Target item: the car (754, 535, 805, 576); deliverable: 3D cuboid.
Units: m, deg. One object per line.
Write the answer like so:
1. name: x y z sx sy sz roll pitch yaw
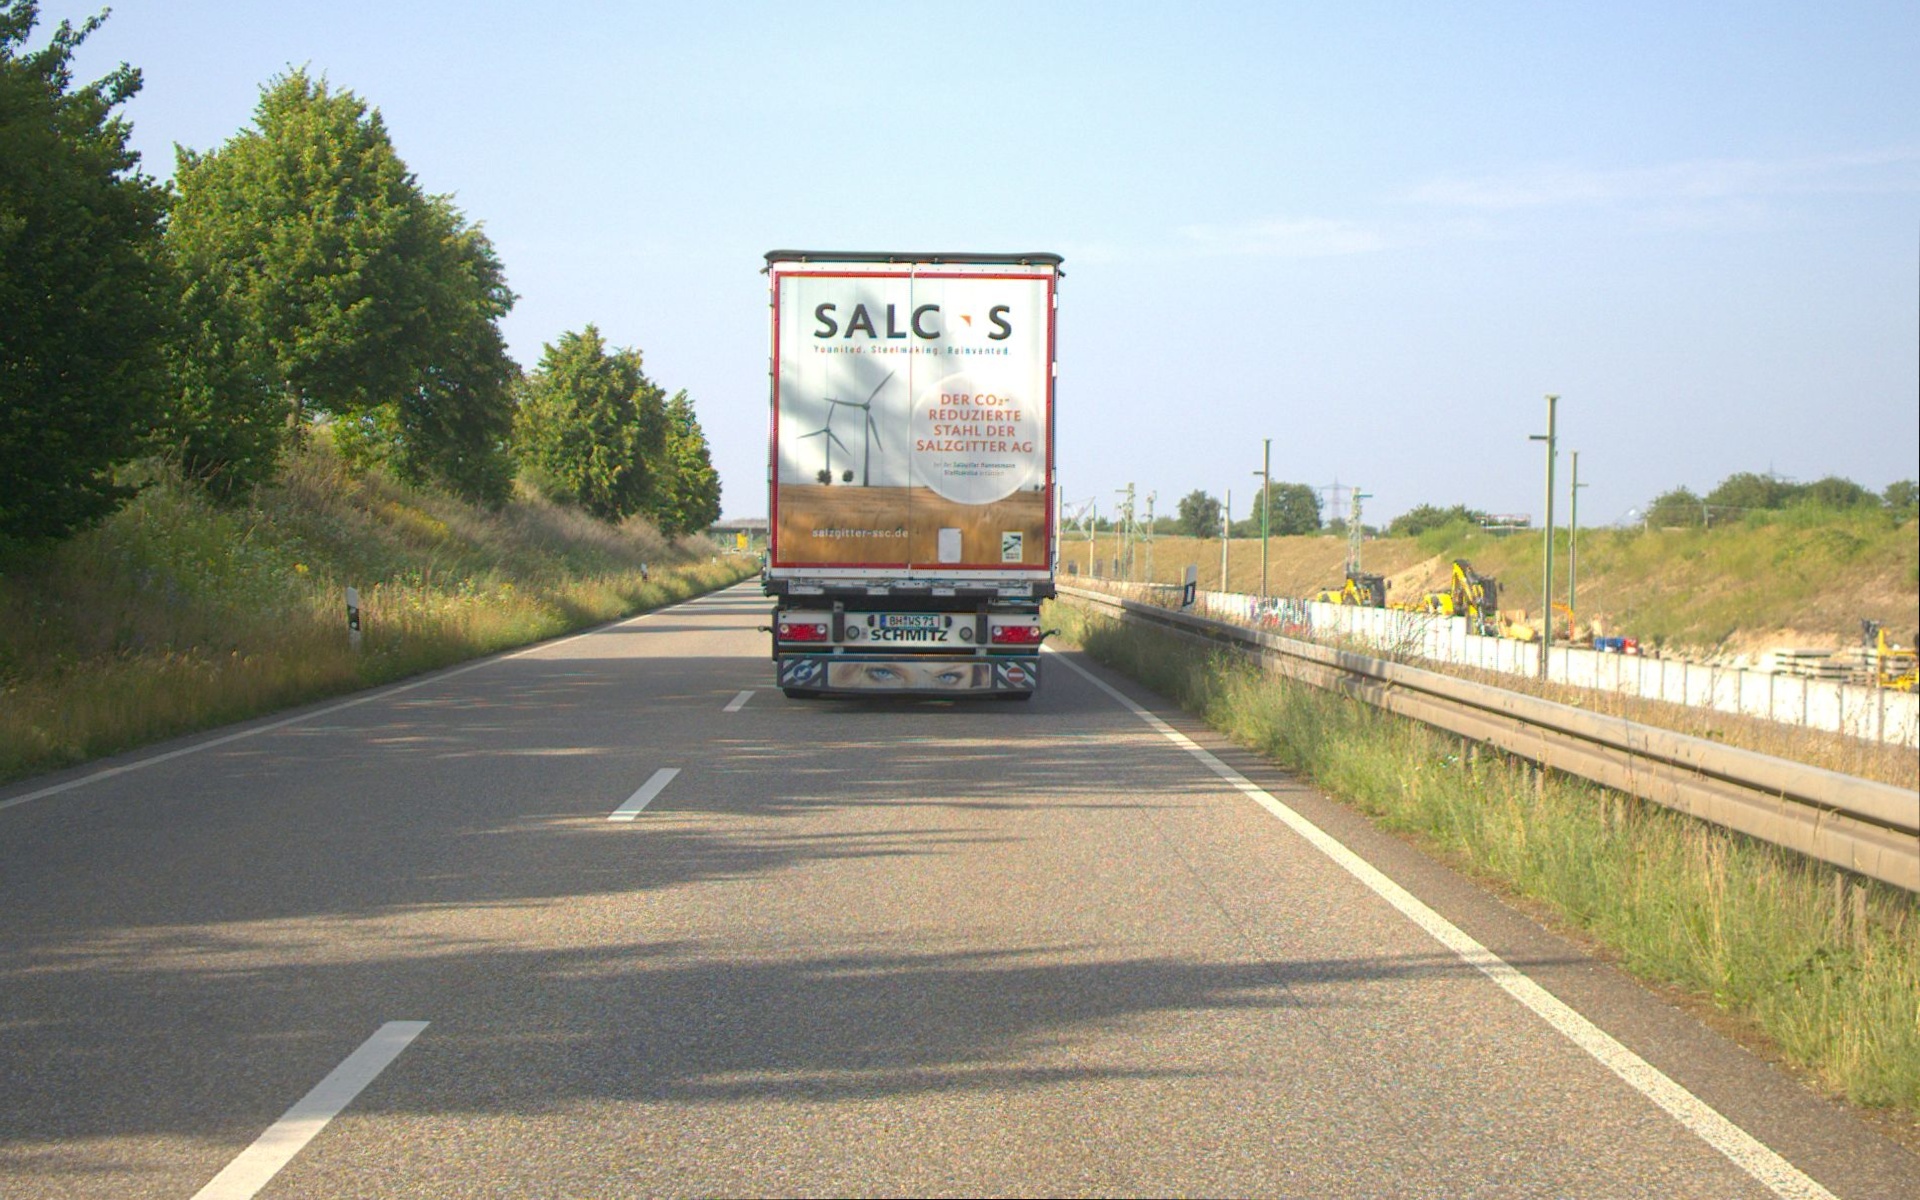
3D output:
1. car: -6.824 -1.699 130.366 1.743 1.541 4.312 0 1 -1

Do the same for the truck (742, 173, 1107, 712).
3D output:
1. truck: -0.393 -1.443 34.226 3.153 4.672 8.442 0 1 -1

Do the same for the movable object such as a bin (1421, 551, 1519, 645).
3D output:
1. movable object such as a bin: 22.069 -0.130 149.051 2.796 3.872 7.539 1 1 -2

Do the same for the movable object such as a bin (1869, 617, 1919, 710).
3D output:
1. movable object such as a bin: 28.514 1.877 101.553 2.907 2.652 2.017 1 1 24
